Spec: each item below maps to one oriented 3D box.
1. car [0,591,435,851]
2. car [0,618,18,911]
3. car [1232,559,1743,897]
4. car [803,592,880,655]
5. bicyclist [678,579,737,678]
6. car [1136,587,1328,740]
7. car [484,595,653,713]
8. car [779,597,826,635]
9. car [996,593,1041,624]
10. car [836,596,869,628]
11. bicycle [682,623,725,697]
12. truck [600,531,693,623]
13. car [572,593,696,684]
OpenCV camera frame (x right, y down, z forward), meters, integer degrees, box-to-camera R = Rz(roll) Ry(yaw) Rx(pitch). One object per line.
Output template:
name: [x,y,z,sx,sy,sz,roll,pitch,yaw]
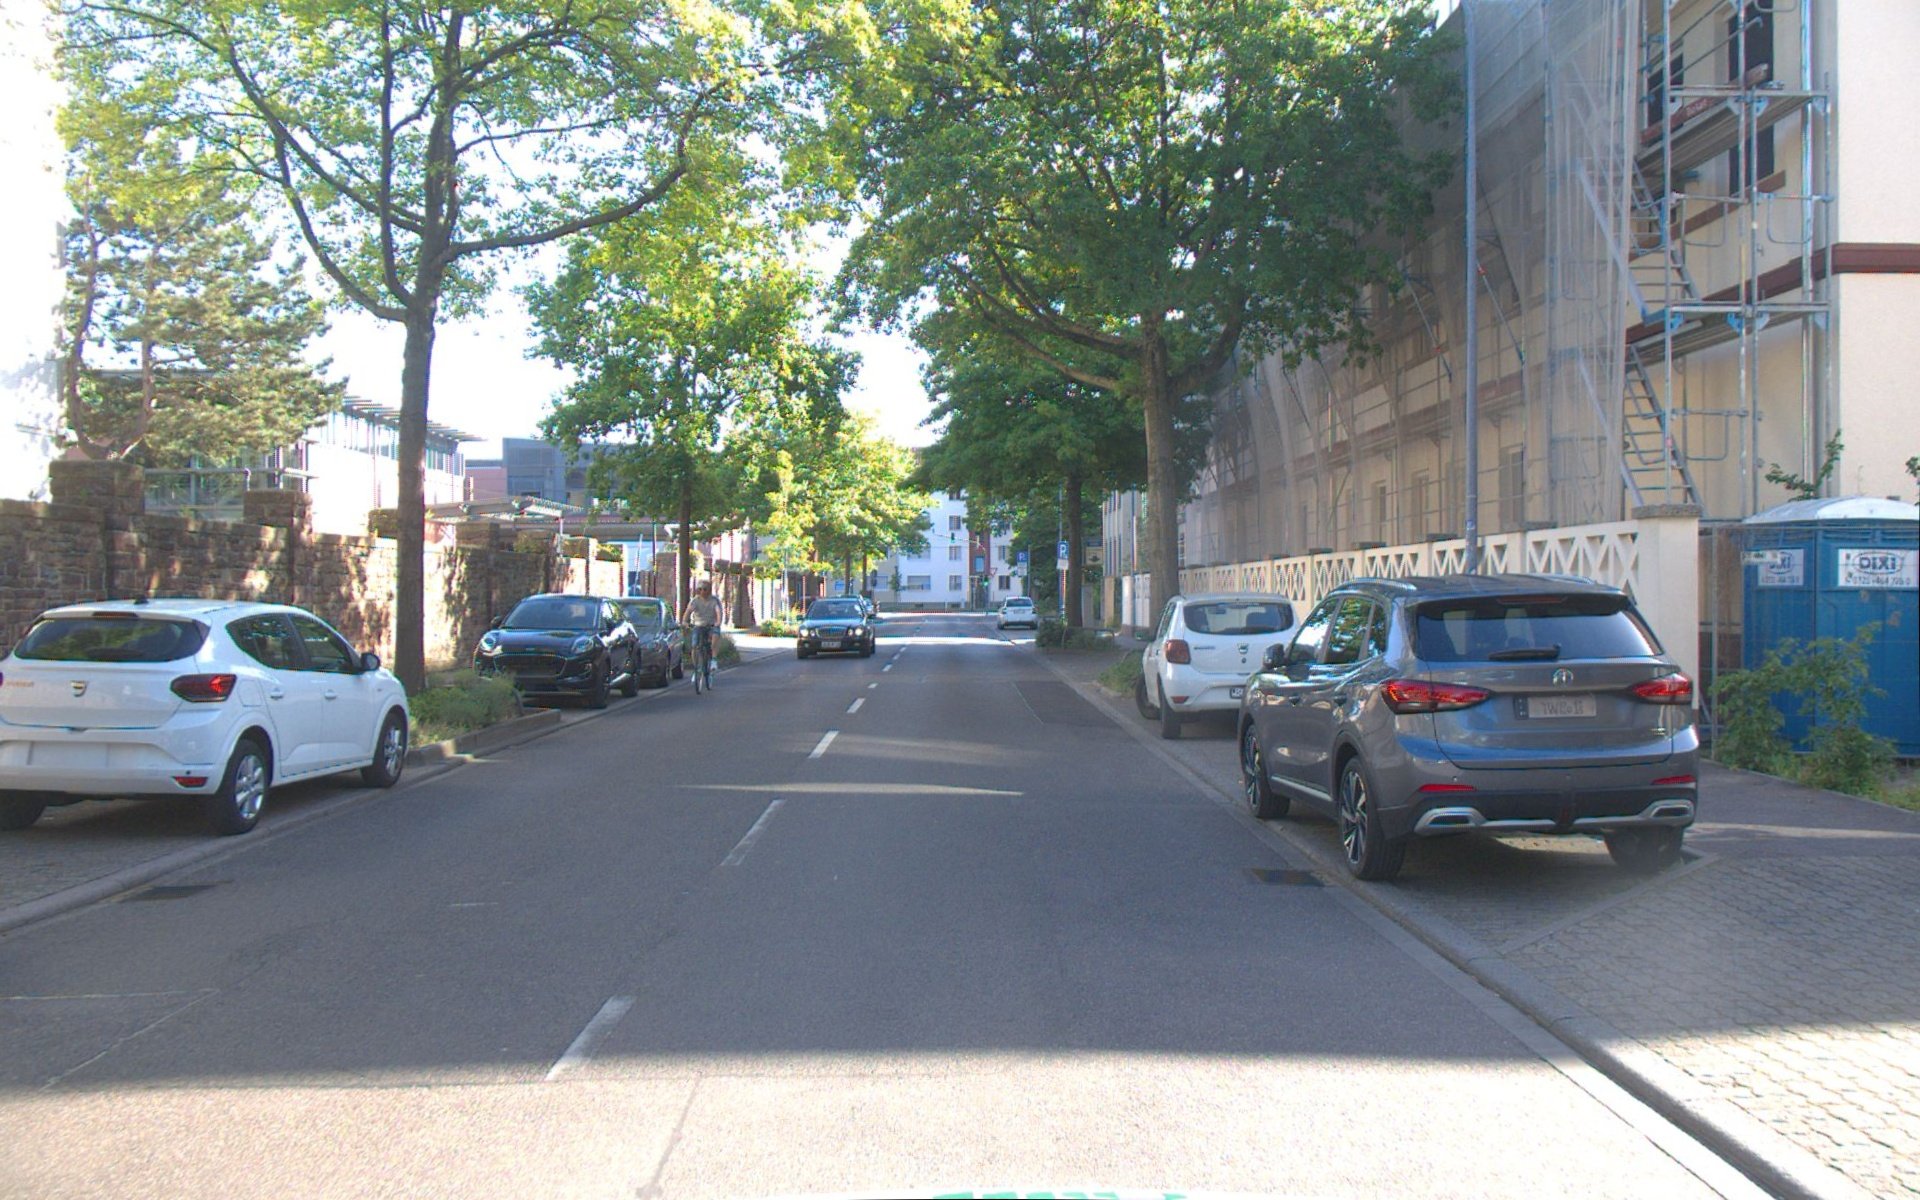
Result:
car: [-5.374,0.758,12.286,1.642,1.537,3.849,3,0,0]
car: [-5.261,0.757,5.987,1.542,1.426,3.749,4,0,-1]
car: [2.972,0.628,10.336,1.678,1.667,4.300,0,0,-2]
car: [-2.927,0.553,41.546,1.785,1.461,3.967,-1,0,-2]
bicyclist: [-4.076,0.453,26.759,0.706,1.549,1.005,2,0,2]
car: [3.004,0.644,18.995,1.688,1.536,3.993,-1,0,2]
car: [-5.535,0.717,23.822,1.542,1.541,4.043,1,0,-1]
car: [-6.454,0.635,68.083,1.576,1.484,3.708,2,0,0]
car: [2.628,0.393,75.409,1.795,1.346,4.495,-1,0,-1]
car: [-5.974,0.654,92.160,1.685,1.713,4.349,0,0,-2]
bicycle: [-4.156,0.956,26.870,0.350,1.140,1.866,2,0,1]
truck: [-13.821,-0.950,73.442,2.677,3.776,7.426,2,0,-1]
car: [-5.623,0.631,28.940,1.654,1.446,3.835,2,0,-5]
